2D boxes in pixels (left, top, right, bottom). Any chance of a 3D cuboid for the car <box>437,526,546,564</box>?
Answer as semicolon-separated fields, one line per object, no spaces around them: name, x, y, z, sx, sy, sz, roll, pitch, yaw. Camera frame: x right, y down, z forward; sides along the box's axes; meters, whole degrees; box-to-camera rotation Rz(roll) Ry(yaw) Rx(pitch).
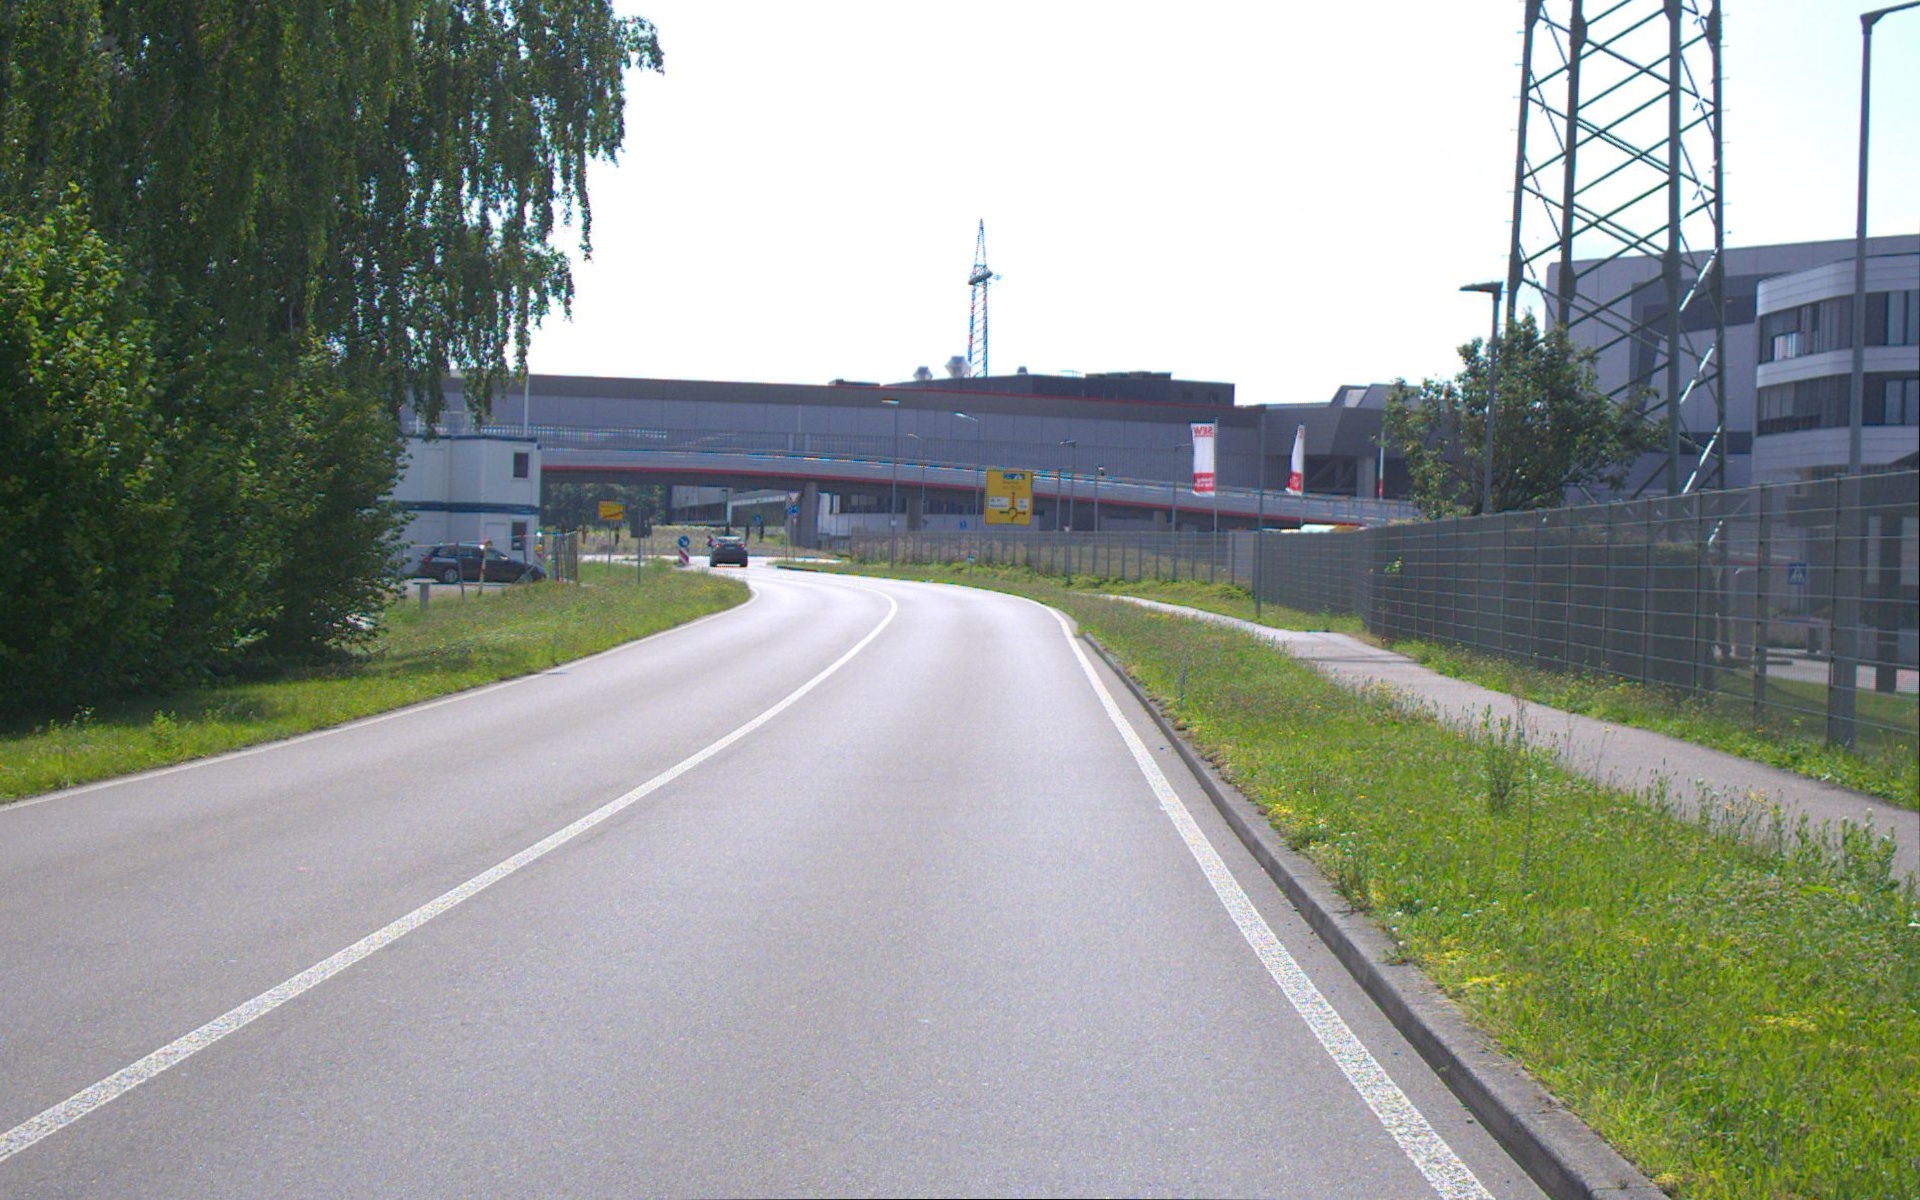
car;-17.674;-2.075;129.692;3.688;1.285;1.708;2;1;-29

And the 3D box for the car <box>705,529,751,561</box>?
car;-11.826;-2.808;174.896;2.011;1.503;4.001;2;1;-7
